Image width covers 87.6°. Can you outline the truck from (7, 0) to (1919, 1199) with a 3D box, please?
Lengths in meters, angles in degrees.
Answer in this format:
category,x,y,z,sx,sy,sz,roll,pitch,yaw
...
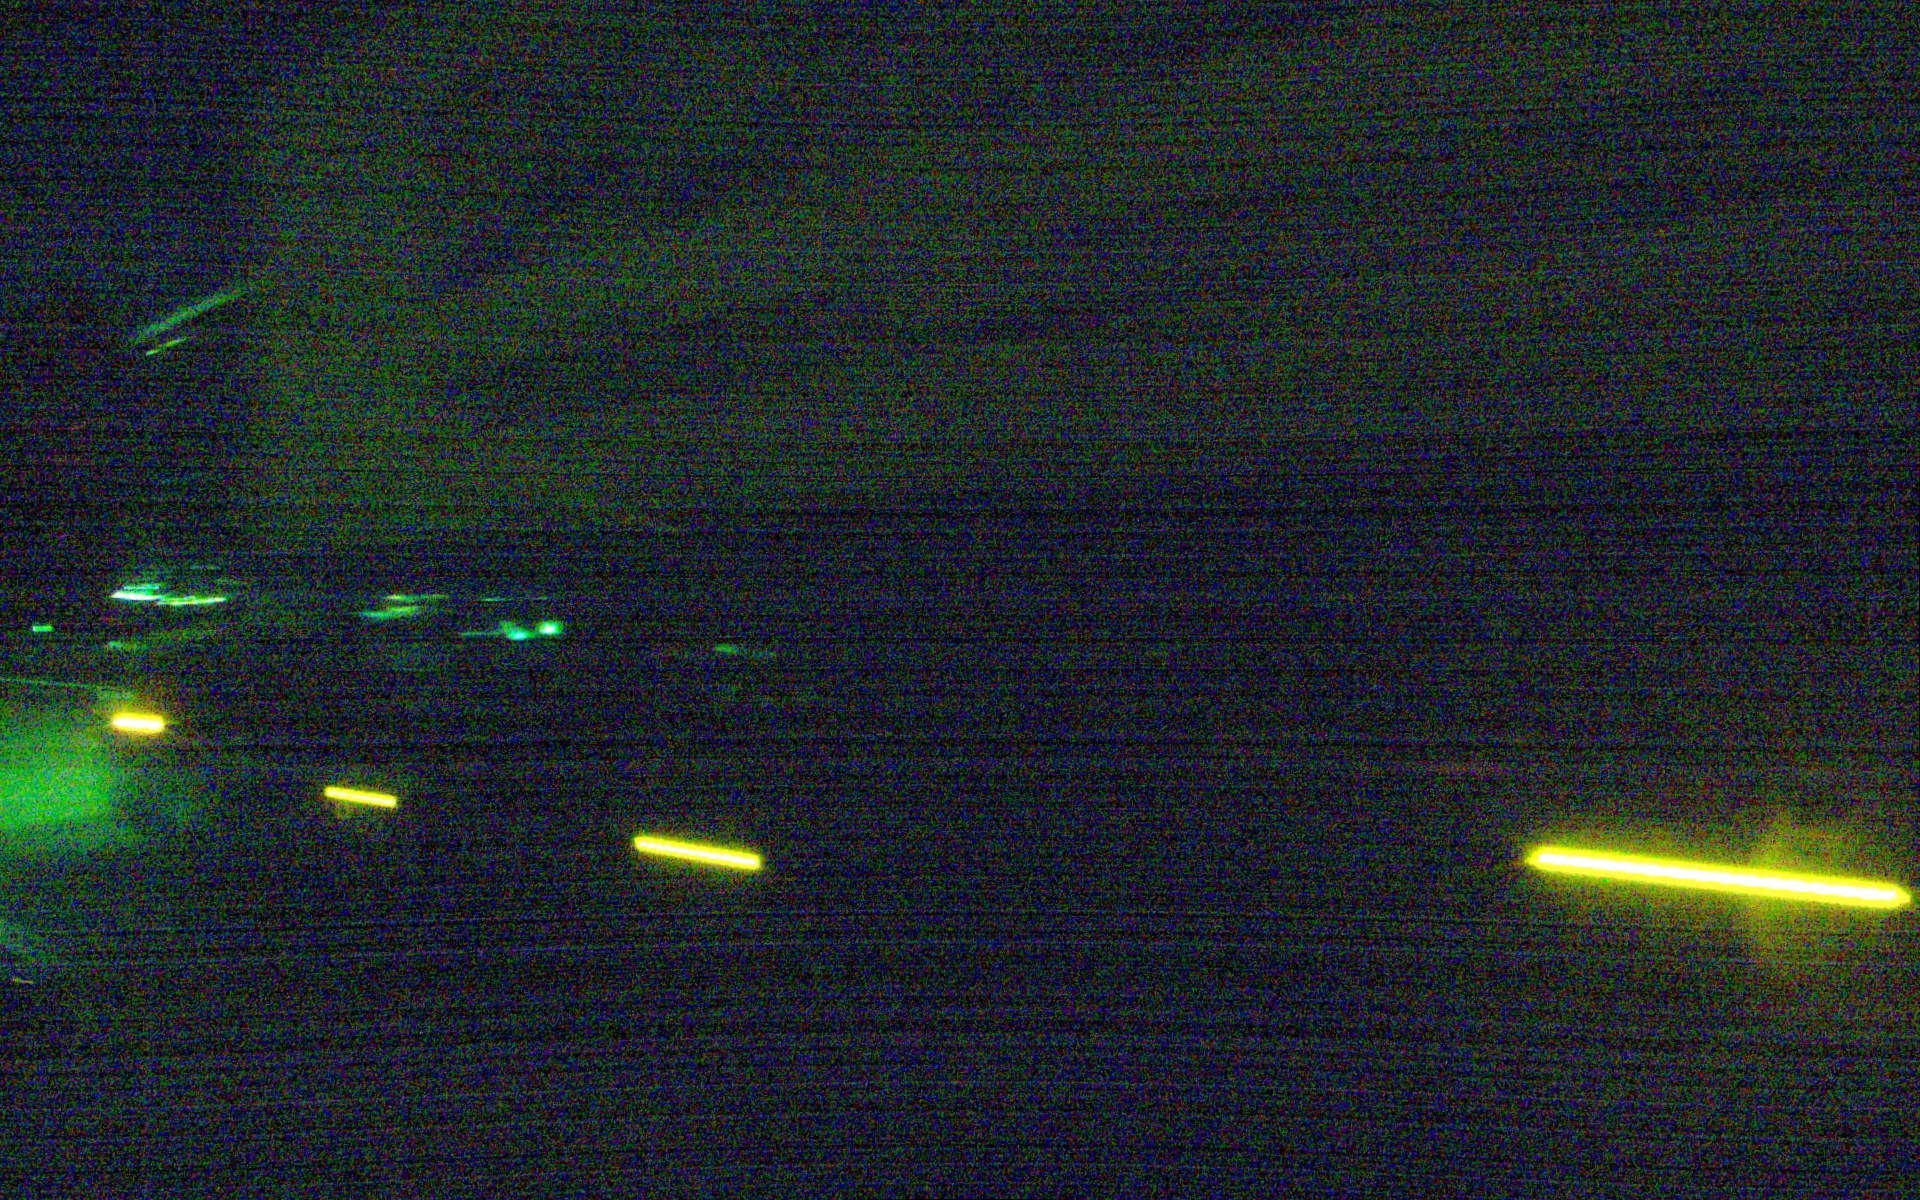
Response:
category,x,y,z,sx,sy,sz,roll,pitch,yaw
truck,3.243,-0.710,2.204,18.444,4.187,3.476,-1,-2,33
